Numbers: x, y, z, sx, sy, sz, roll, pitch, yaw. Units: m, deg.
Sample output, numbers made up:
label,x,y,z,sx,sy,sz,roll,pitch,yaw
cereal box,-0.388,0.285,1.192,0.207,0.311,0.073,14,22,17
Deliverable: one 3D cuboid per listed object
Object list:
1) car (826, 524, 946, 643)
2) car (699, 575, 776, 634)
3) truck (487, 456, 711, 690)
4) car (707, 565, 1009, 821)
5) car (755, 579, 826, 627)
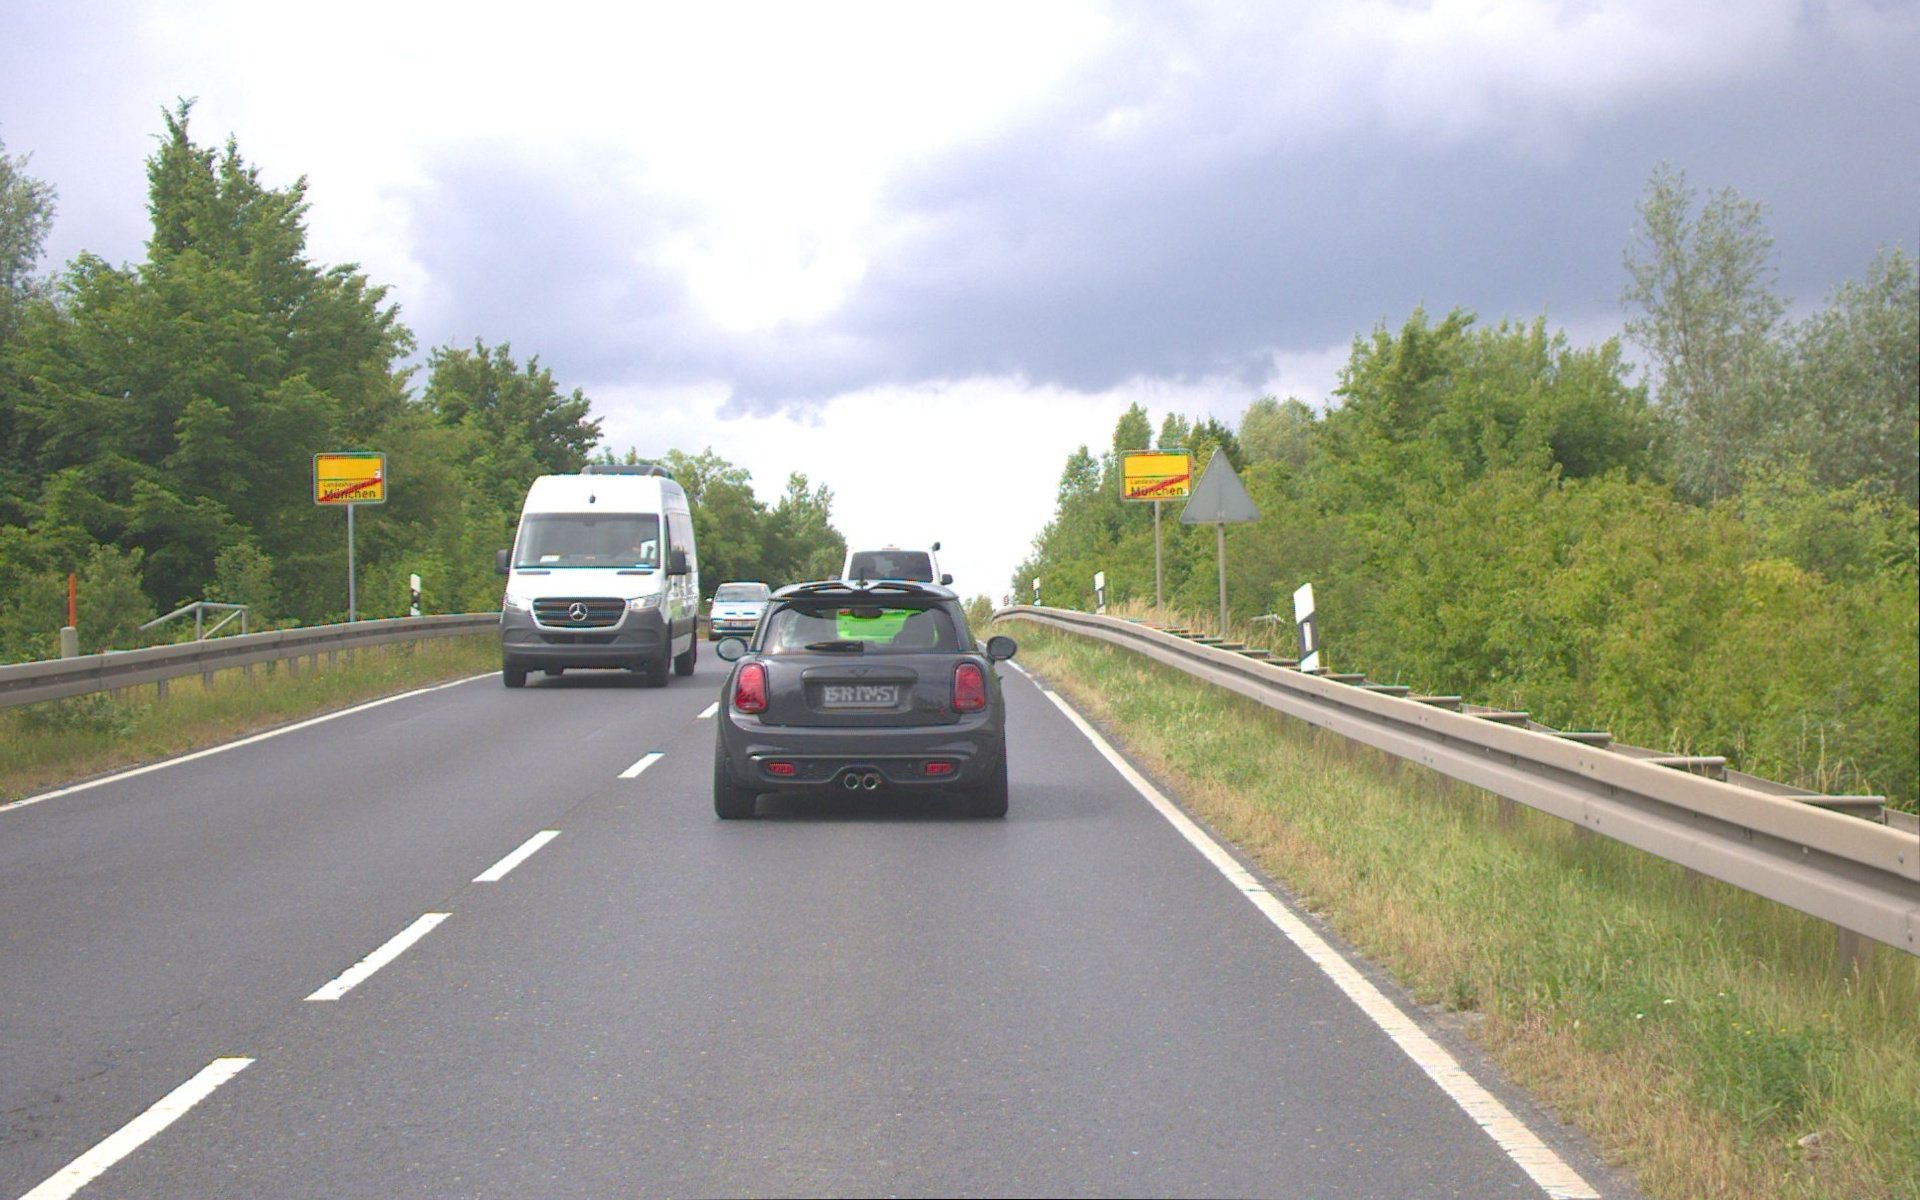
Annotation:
label,x,y,z,sx,sy,sz,roll,pitch,yaw
car,-1.302,-0.305,60.638,2.022,2.006,4.000,0,1,-1
car,-5.623,0.109,87.164,1.835,1.440,4.000,0,0,-2
truck,-4.489,-0.378,43.801,2.065,2.733,7.007,0,1,0
car,-0.616,0.514,21.750,1.732,1.451,4.000,0,1,-1
car,-5.202,0.109,105.735,1.835,1.415,3.999,0,-1,2
